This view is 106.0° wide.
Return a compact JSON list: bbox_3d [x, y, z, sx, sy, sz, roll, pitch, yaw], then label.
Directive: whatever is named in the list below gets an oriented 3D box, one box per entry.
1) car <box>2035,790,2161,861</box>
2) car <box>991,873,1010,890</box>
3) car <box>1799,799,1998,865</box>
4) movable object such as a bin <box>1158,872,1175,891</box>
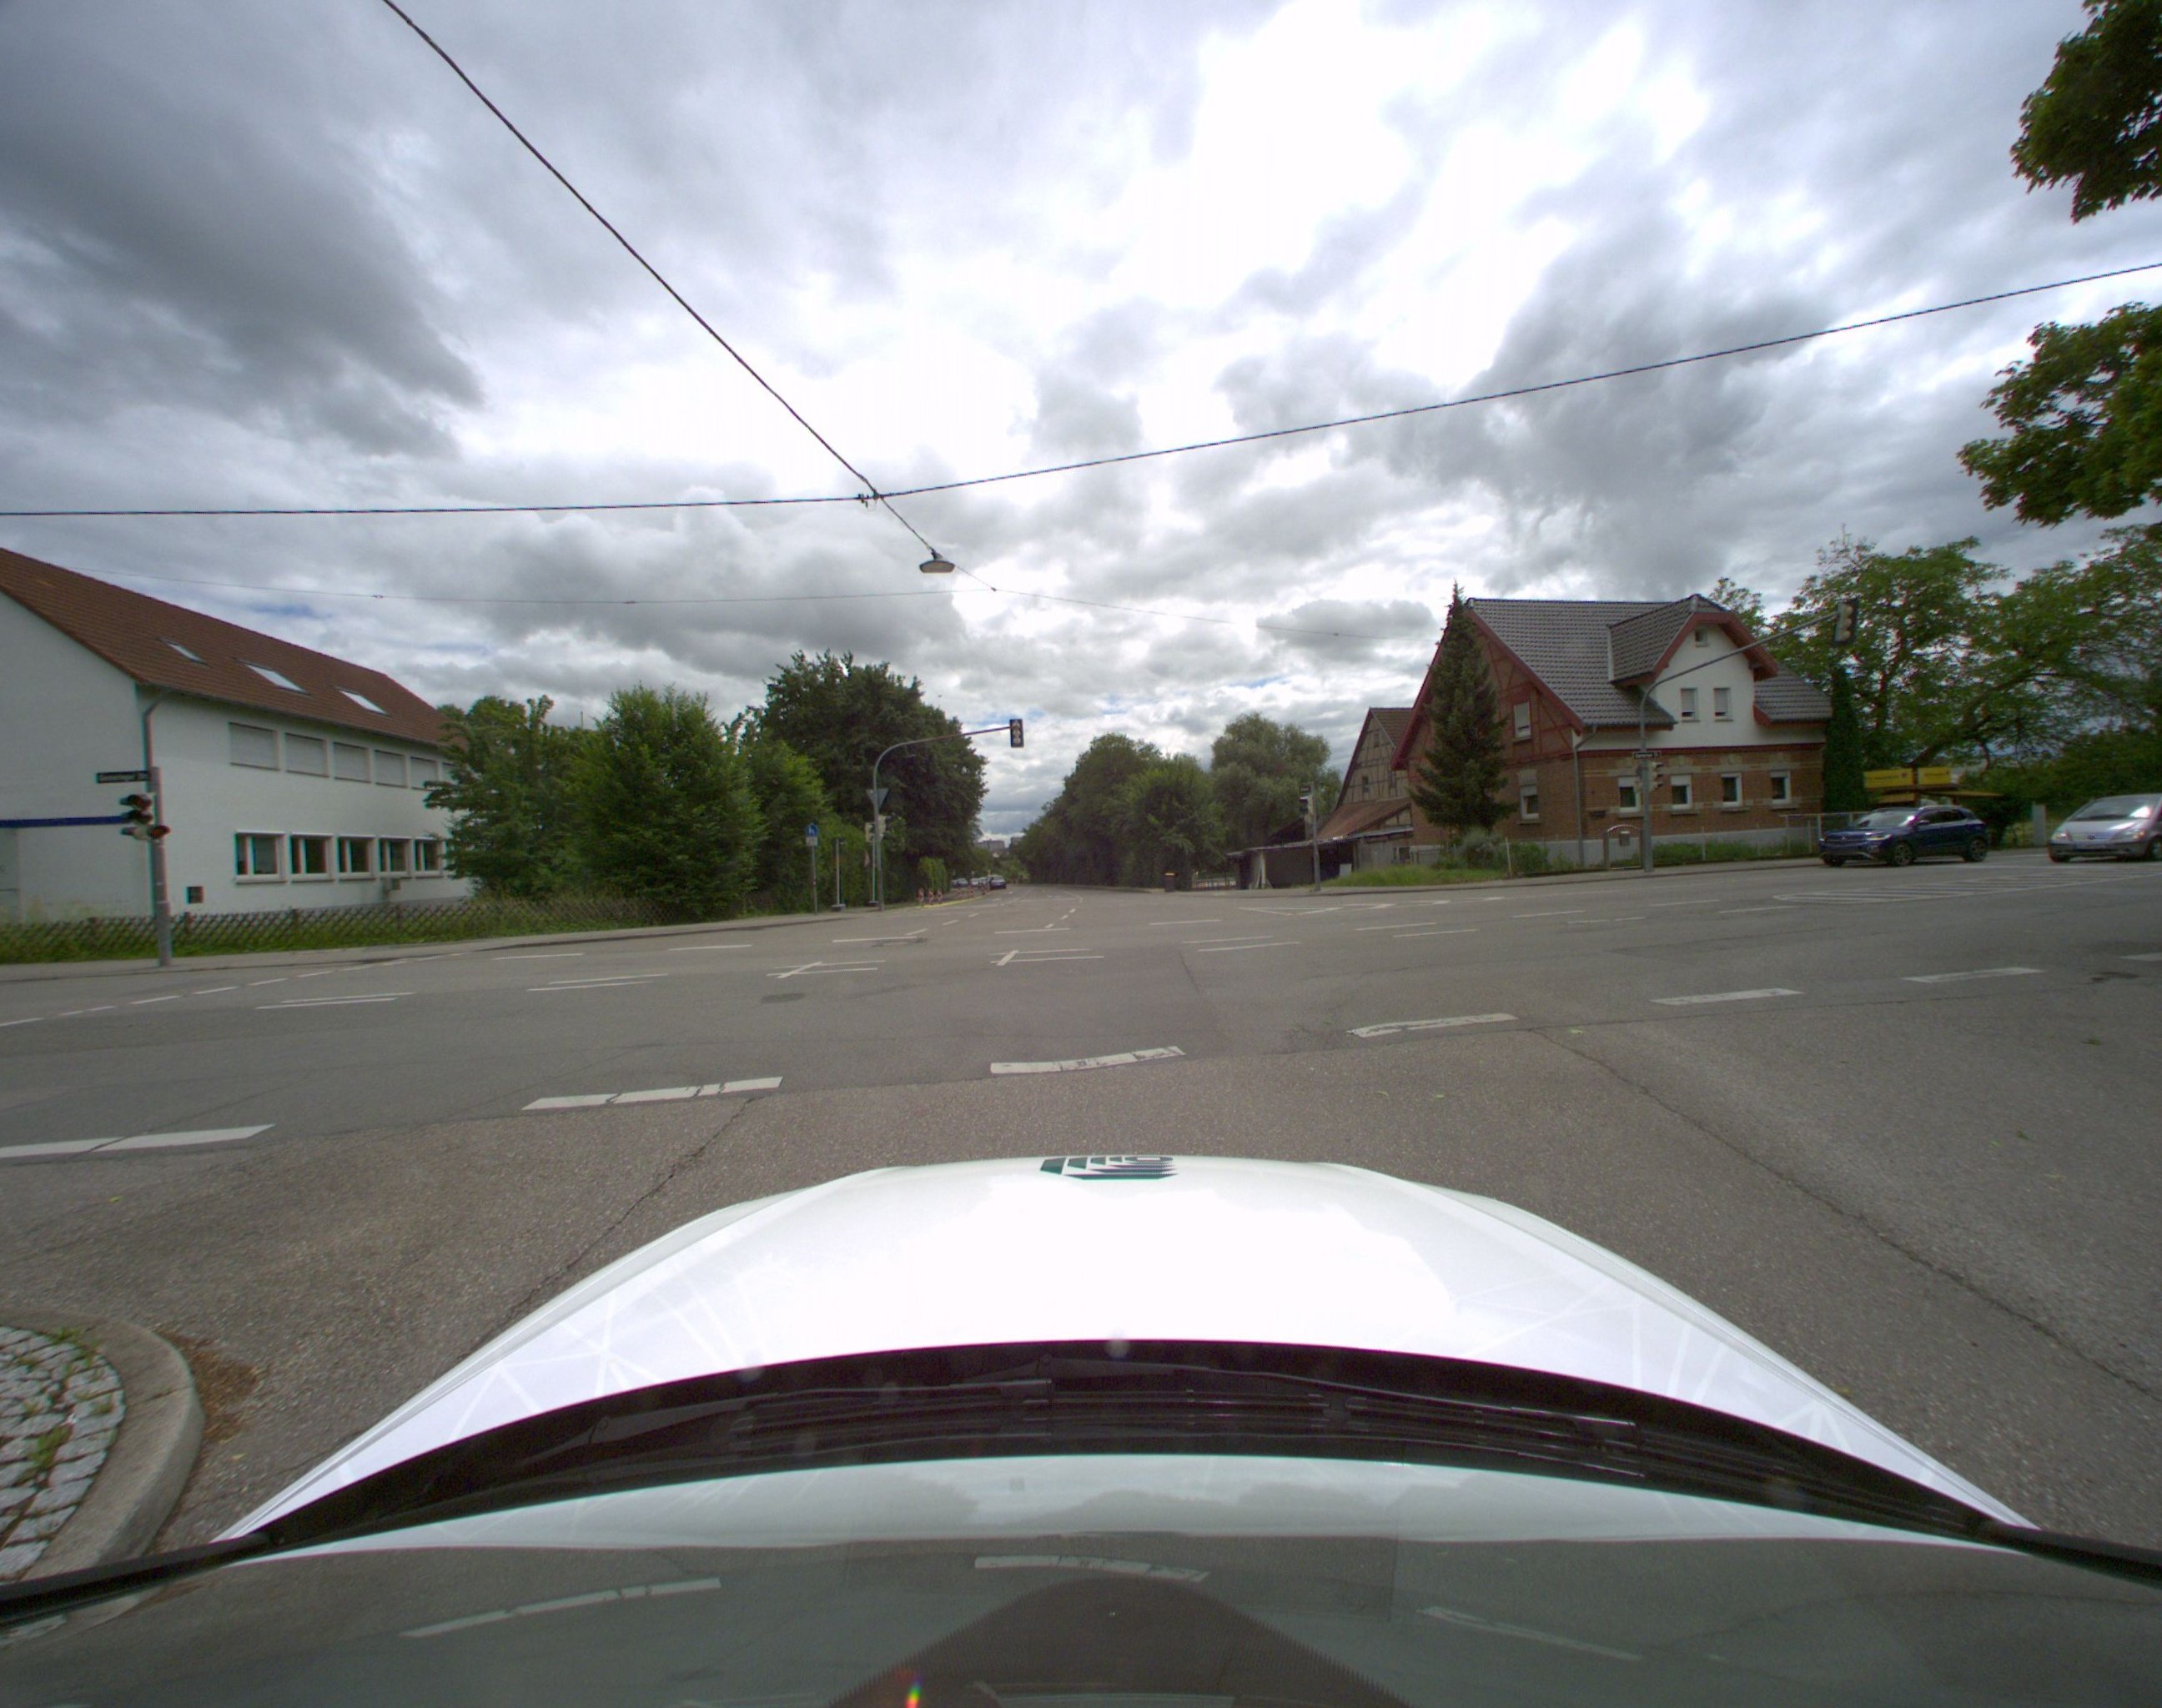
[{"bbox_3d":[25.542,-0.725,19.783,3.556,1.518,1.770,-3,-2,-18],"label":"car"},{"bbox_3d":[-8.953,3.079,91.333,1.991,1.750,3.993,-3,0,-5],"label":"car"},{"bbox_3d":[22.274,-0.573,22.261,3.989,1.518,1.920,-3,0,-11],"label":"car"},{"bbox_3d":[4.148,1.344,39.701,0.585,0.906,0.606,-3,-1,29],"label":"movable object such as a bin"}]
